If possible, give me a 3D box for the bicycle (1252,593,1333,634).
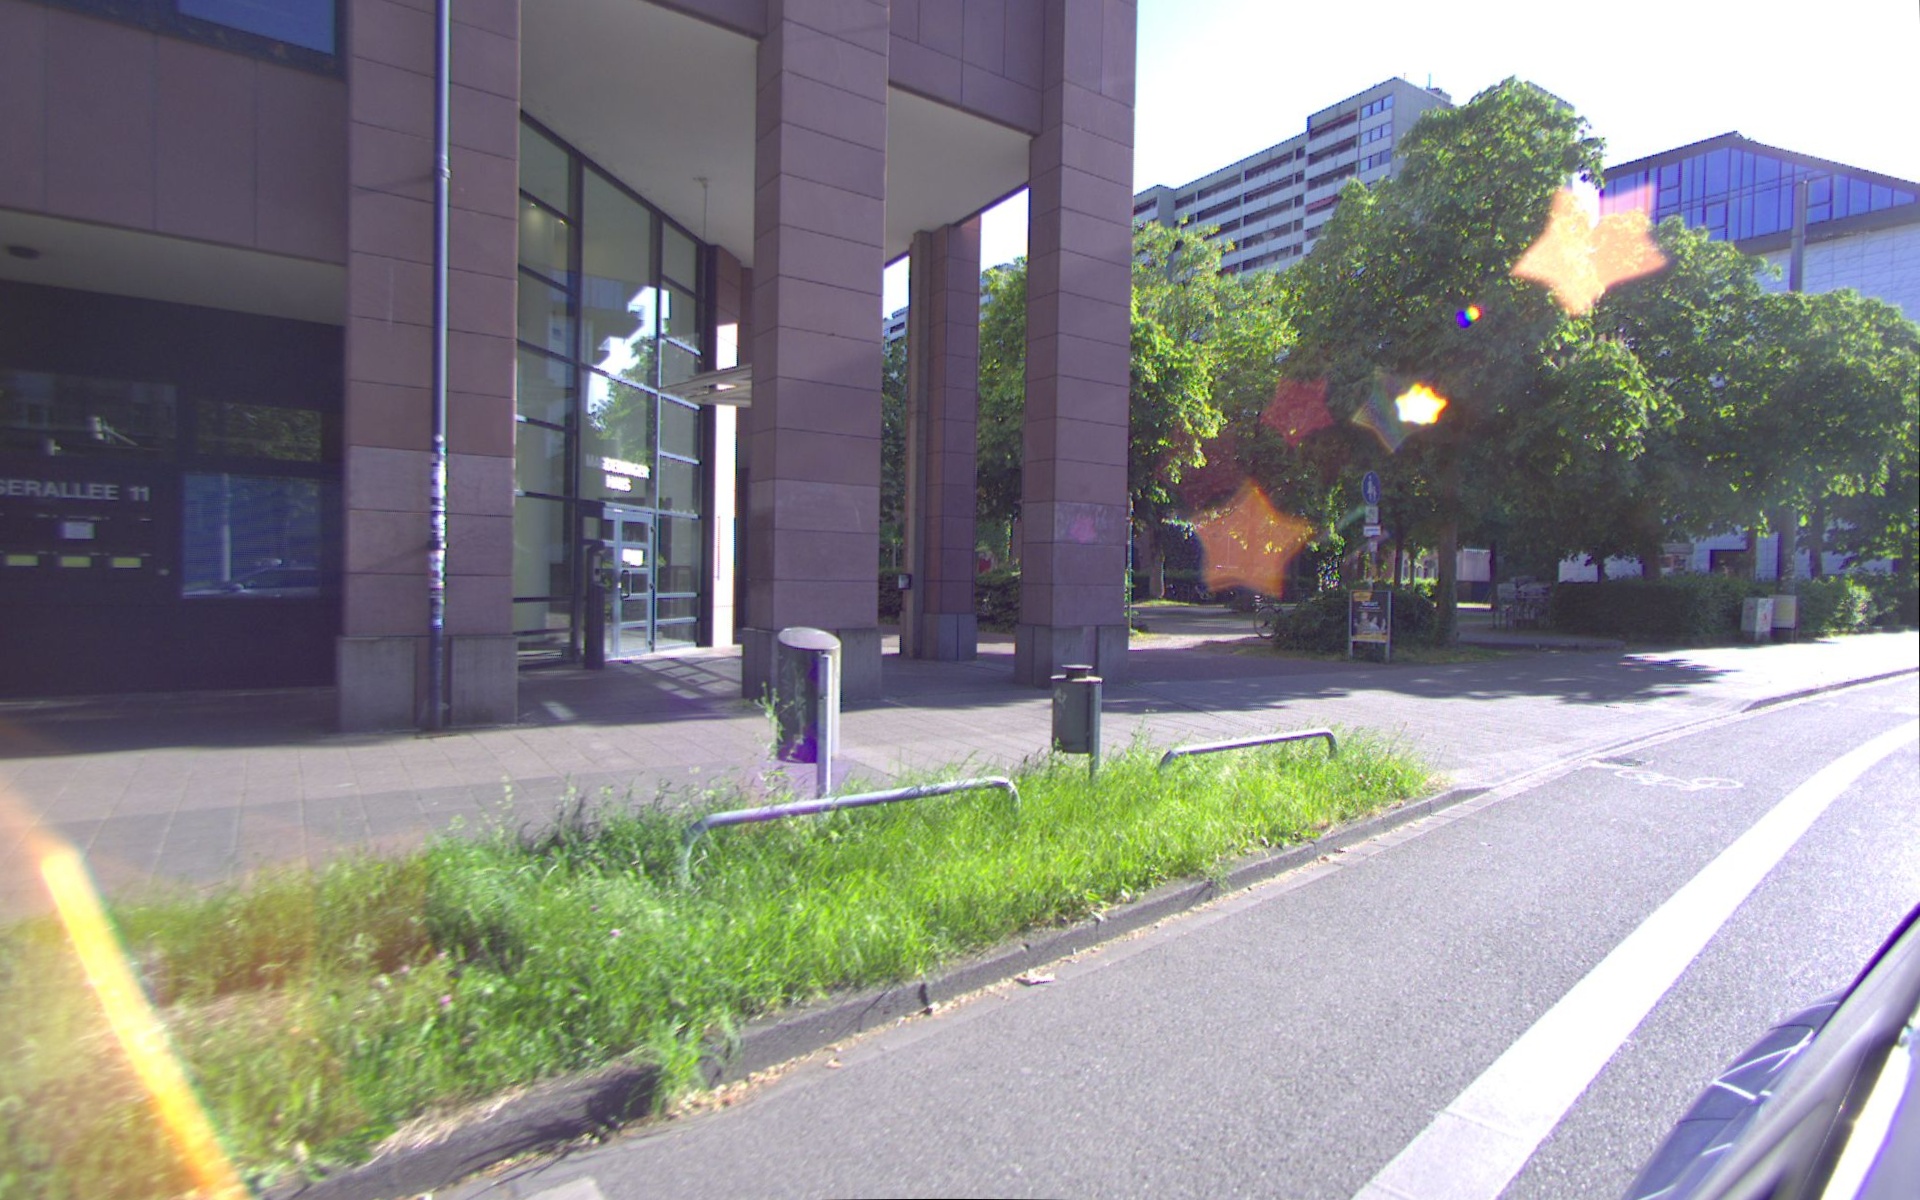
[{"bbox_3d":[7.323,0.284,22.317,1.660,0.873,0.318,0,0,27],"label":"bicycle"}]
